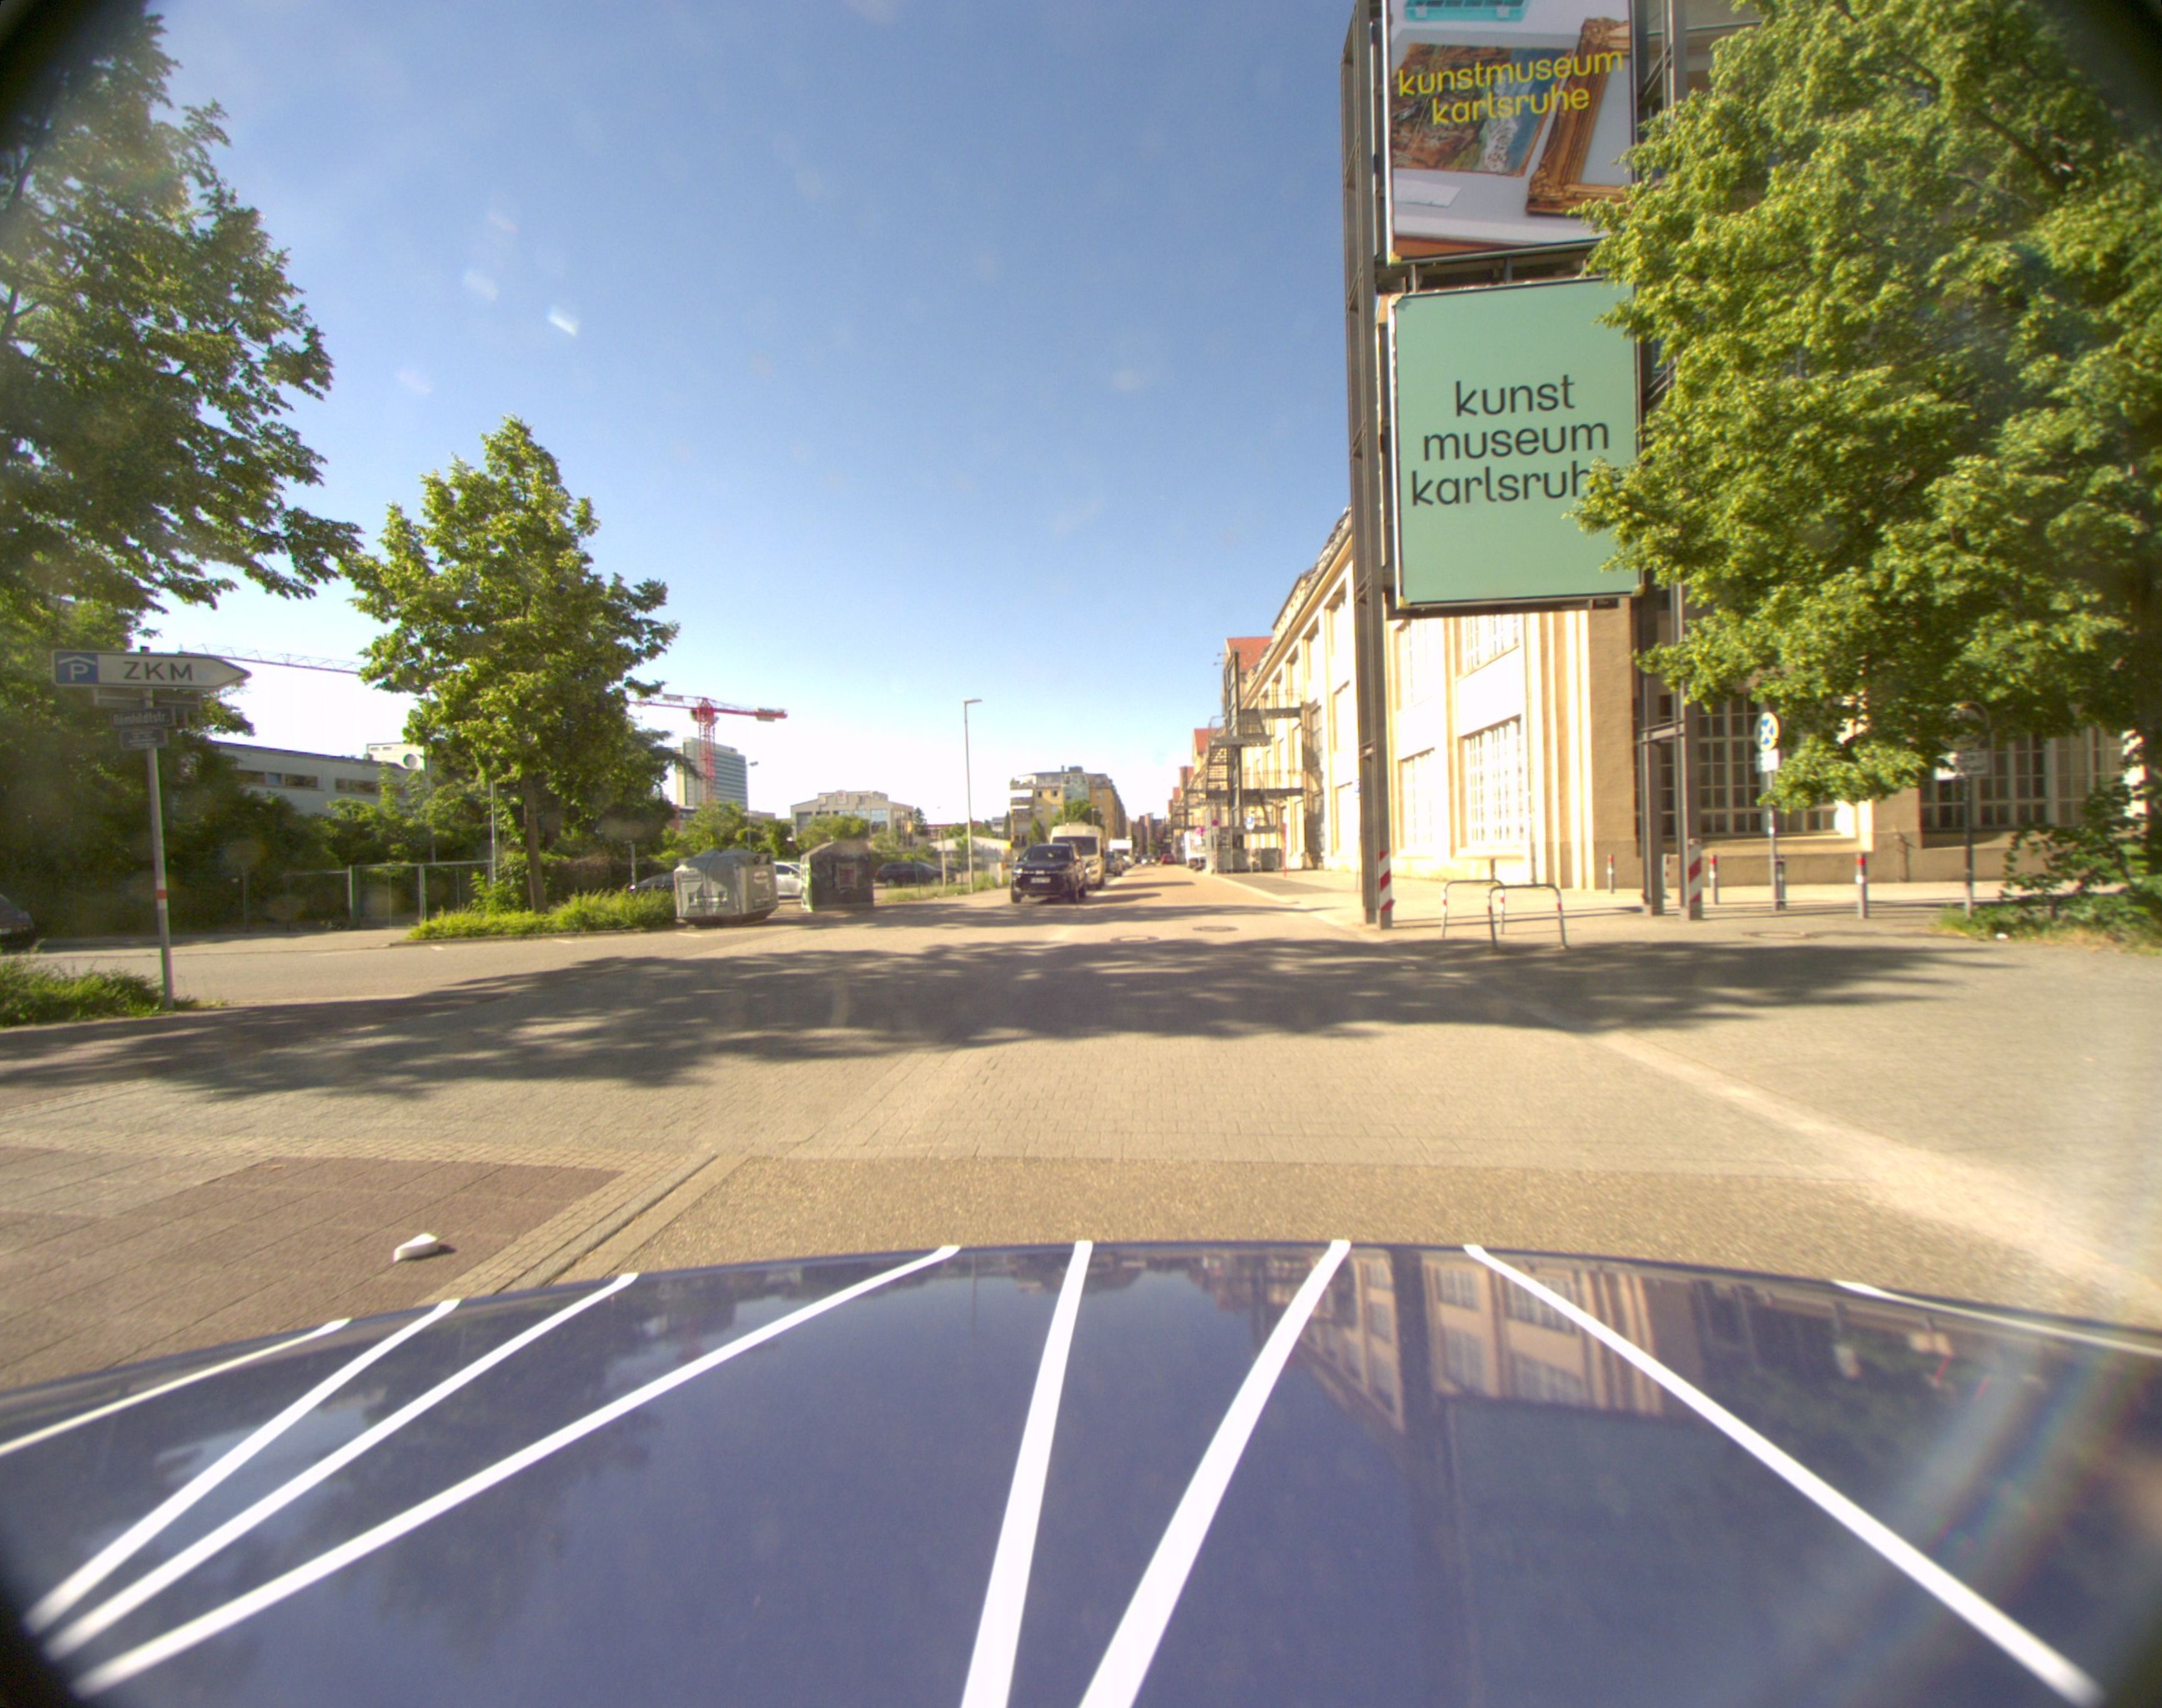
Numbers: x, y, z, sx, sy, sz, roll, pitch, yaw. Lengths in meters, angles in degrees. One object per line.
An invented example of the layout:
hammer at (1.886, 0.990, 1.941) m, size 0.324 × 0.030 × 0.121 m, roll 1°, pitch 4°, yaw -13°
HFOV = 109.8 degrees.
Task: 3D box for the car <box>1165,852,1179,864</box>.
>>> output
car at (12.227, 0.502, 101.892) m, size 1.759 × 1.440 × 4.002 m, roll -2°, pitch 0°, yaw 7°

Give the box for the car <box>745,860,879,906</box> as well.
car at (-10.322, 1.088, 29.349) m, size 4.420 × 1.600 × 2.001 m, roll -2°, pitch 0°, yaw 8°

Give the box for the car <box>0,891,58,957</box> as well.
car at (-26.950, 1.694, 17.852) m, size 3.543 × 1.466 × 1.723 m, roll -1°, pitch 2°, yaw 3°

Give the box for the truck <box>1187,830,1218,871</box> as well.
truck at (10.734, -0.345, 67.839) m, size 2.497 × 3.411 × 7.131 m, roll -1°, pitch 0°, yaw 8°

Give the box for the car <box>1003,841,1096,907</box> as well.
car at (-0.782, 0.521, 21.781) m, size 1.997 × 1.685 × 4.105 m, roll -1°, pitch 0°, yaw 7°

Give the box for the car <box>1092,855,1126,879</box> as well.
car at (1.832, 0.810, 48.574) m, size 1.849 × 1.417 × 4.226 m, roll -2°, pitch 0°, yaw 6°

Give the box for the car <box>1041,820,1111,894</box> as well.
car at (-0.066, 0.126, 30.311) m, size 2.162 × 2.581 × 6.286 m, roll -2°, pitch 0°, yaw 5°

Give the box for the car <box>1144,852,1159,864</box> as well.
car at (9.013, 0.481, 97.586) m, size 1.849 × 1.417 × 4.227 m, roll -1°, pitch 0°, yaw 6°

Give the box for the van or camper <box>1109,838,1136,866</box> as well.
van or camper at (4.455, -0.212, 81.278) m, size 2.721 × 2.840 × 5.135 m, roll -1°, pitch 0°, yaw 4°

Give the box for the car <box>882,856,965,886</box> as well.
car at (-9.094, 0.983, 44.088) m, size 4.237 × 1.551 × 1.899 m, roll -2°, pitch 0°, yaw 8°
